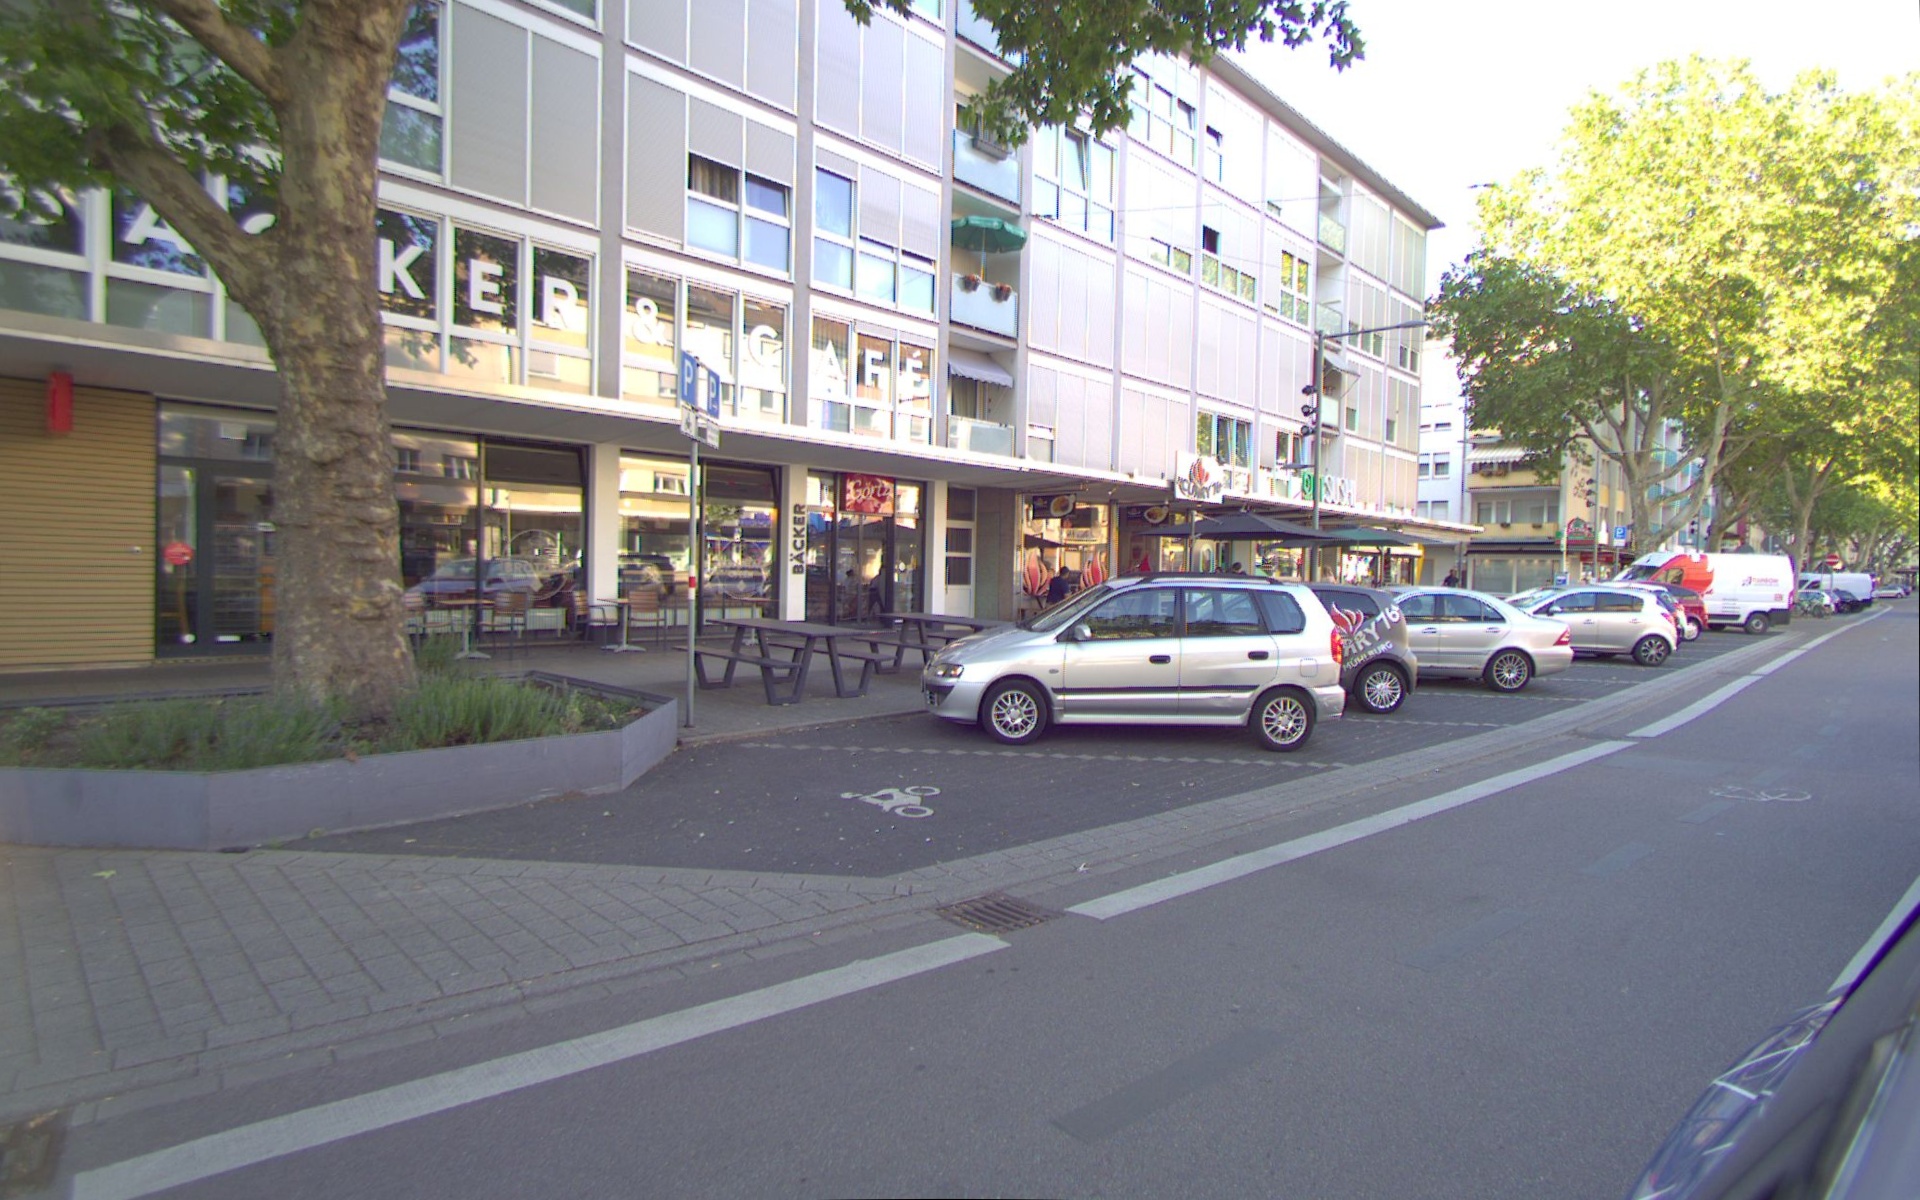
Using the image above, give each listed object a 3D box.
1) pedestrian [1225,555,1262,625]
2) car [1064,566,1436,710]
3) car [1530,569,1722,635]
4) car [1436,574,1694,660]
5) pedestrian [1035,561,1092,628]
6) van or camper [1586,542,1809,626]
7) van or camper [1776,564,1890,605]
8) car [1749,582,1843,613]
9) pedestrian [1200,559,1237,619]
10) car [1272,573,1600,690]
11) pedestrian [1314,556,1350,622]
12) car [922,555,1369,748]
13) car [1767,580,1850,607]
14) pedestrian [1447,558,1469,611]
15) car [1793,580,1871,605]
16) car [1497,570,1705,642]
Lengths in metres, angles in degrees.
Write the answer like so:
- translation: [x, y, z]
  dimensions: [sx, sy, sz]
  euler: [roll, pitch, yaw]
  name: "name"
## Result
- translation: [6.795, -0.249, 24.251]
  dimensions: [0.537, 1.610, 0.676]
  euler: [5, 4, 44]
  name: "pedestrian"
- translation: [3.380, 0.409, 12.340]
  dimensions: [3.921, 1.525, 1.811]
  euler: [1, 2, -3]
  name: "car"
- translation: [17.886, 0.019, 27.338]
  dimensions: [3.929, 1.582, 1.659]
  euler: [2, 3, 5]
  name: "car"
- translation: [11.734, 0.288, 19.858]
  dimensions: [3.929, 1.453, 1.659]
  euler: [2, 3, 5]
  name: "car"
- translation: [2.189, -0.132, 21.425]
  dimensions: [0.945, 1.379, 0.750]
  euler: [0, 2, -41]
  name: "pedestrian"
- translation: [23.317, -0.540, 32.189]
  dimensions: [5.366, 2.499, 1.998]
  euler: [1, 2, 5]
  name: "van or camper"
- translation: [56.115, -1.025, 65.137]
  dimensions: [5.363, 2.499, 1.999]
  euler: [1, 2, 3]
  name: "van or camper"
- translation: [41.869, -0.141, 50.730]
  dimensions: [3.271, 1.363, 1.530]
  euler: [2, 3, 5]
  name: "car"
- translation: [6.276, -0.271, 24.555]
  dimensions: [0.537, 1.417, 0.676]
  euler: [5, 4, 44]
  name: "pedestrian"
- translation: [6.812, 0.406, 14.809]
  dimensions: [3.926, 1.453, 1.660]
  euler: [2, 3, 2]
  name: "car"
- translation: [9.397, -0.288, 25.545]
  dimensions: [0.537, 1.610, 0.676]
  euler: [5, 4, 44]
  name: "pedestrian"
- translation: [1.624, 0.433, 9.884]
  dimensions: [3.921, 1.626, 1.811]
  euler: [1, 2, -3]
  name: "car"
- translation: [48.447, -0.391, 57.844]
  dimensions: [3.271, 1.363, 1.530]
  euler: [2, 3, 5]
  name: "car"
- translation: [19.581, -0.614, 39.787]
  dimensions: [0.565, 2.039, 0.553]
  euler: [0, 0, -22]
  name: "pedestrian"
- translation: [53.822, -0.463, 62.526]
  dimensions: [3.271, 1.363, 1.530]
  euler: [2, 3, 5]
  name: "car"
- translation: [15.741, 0.113, 25.015]
  dimensions: [3.929, 1.541, 1.659]
  euler: [2, 3, 5]
  name: "car"
